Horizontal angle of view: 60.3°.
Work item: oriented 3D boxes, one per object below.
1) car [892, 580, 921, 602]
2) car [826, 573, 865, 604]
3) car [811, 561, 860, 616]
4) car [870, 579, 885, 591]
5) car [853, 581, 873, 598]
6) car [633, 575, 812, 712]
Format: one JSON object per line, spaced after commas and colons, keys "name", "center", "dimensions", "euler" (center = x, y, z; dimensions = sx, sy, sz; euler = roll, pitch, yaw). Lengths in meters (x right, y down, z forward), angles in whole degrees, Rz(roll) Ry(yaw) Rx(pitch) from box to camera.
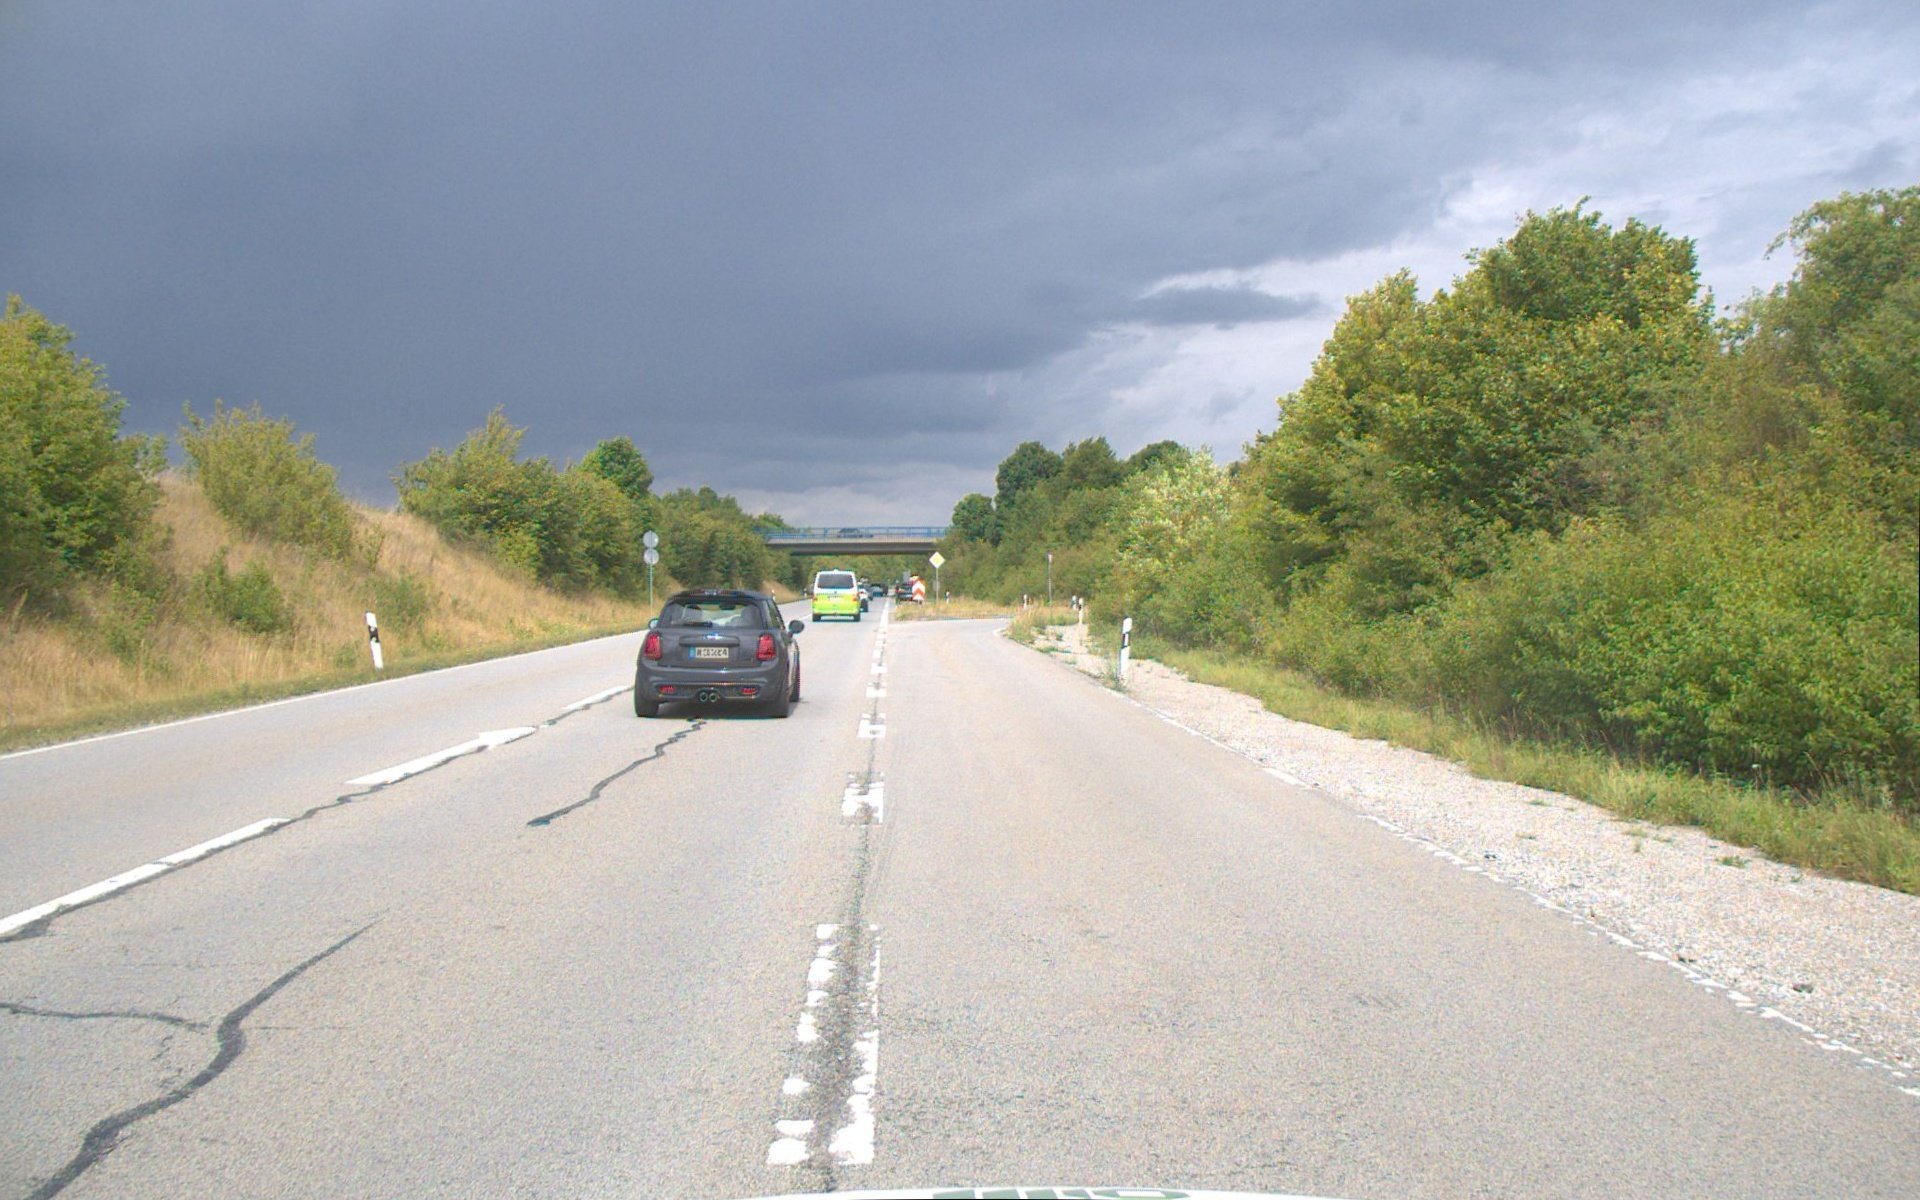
{"name": "car", "center": [-3.998, -0.703, 122.885], "dimensions": [1.954, 1.579, 3.996], "euler": [1, 1, -5]}
{"name": "car", "center": [-6.029, -0.627, 87.626], "dimensions": [1.954, 1.579, 3.998], "euler": [1, 1, -3]}
{"name": "car", "center": [-4.924, -0.453, 65.886], "dimensions": [1.783, 2.090, 3.998], "euler": [1, 1, -3]}
{"name": "car", "center": [-9.899, -1.759, 198.640], "dimensions": [1.633, 1.427, 3.998], "euler": [1, 1, -2]}
{"name": "car", "center": [-8.566, -0.952, 146.497], "dimensions": [1.633, 1.427, 3.998], "euler": [1, 1, -2]}
{"name": "car", "center": [-2.742, 0.449, 19.875], "dimensions": [1.721, 1.452, 3.998], "euler": [1, 1, -3]}
